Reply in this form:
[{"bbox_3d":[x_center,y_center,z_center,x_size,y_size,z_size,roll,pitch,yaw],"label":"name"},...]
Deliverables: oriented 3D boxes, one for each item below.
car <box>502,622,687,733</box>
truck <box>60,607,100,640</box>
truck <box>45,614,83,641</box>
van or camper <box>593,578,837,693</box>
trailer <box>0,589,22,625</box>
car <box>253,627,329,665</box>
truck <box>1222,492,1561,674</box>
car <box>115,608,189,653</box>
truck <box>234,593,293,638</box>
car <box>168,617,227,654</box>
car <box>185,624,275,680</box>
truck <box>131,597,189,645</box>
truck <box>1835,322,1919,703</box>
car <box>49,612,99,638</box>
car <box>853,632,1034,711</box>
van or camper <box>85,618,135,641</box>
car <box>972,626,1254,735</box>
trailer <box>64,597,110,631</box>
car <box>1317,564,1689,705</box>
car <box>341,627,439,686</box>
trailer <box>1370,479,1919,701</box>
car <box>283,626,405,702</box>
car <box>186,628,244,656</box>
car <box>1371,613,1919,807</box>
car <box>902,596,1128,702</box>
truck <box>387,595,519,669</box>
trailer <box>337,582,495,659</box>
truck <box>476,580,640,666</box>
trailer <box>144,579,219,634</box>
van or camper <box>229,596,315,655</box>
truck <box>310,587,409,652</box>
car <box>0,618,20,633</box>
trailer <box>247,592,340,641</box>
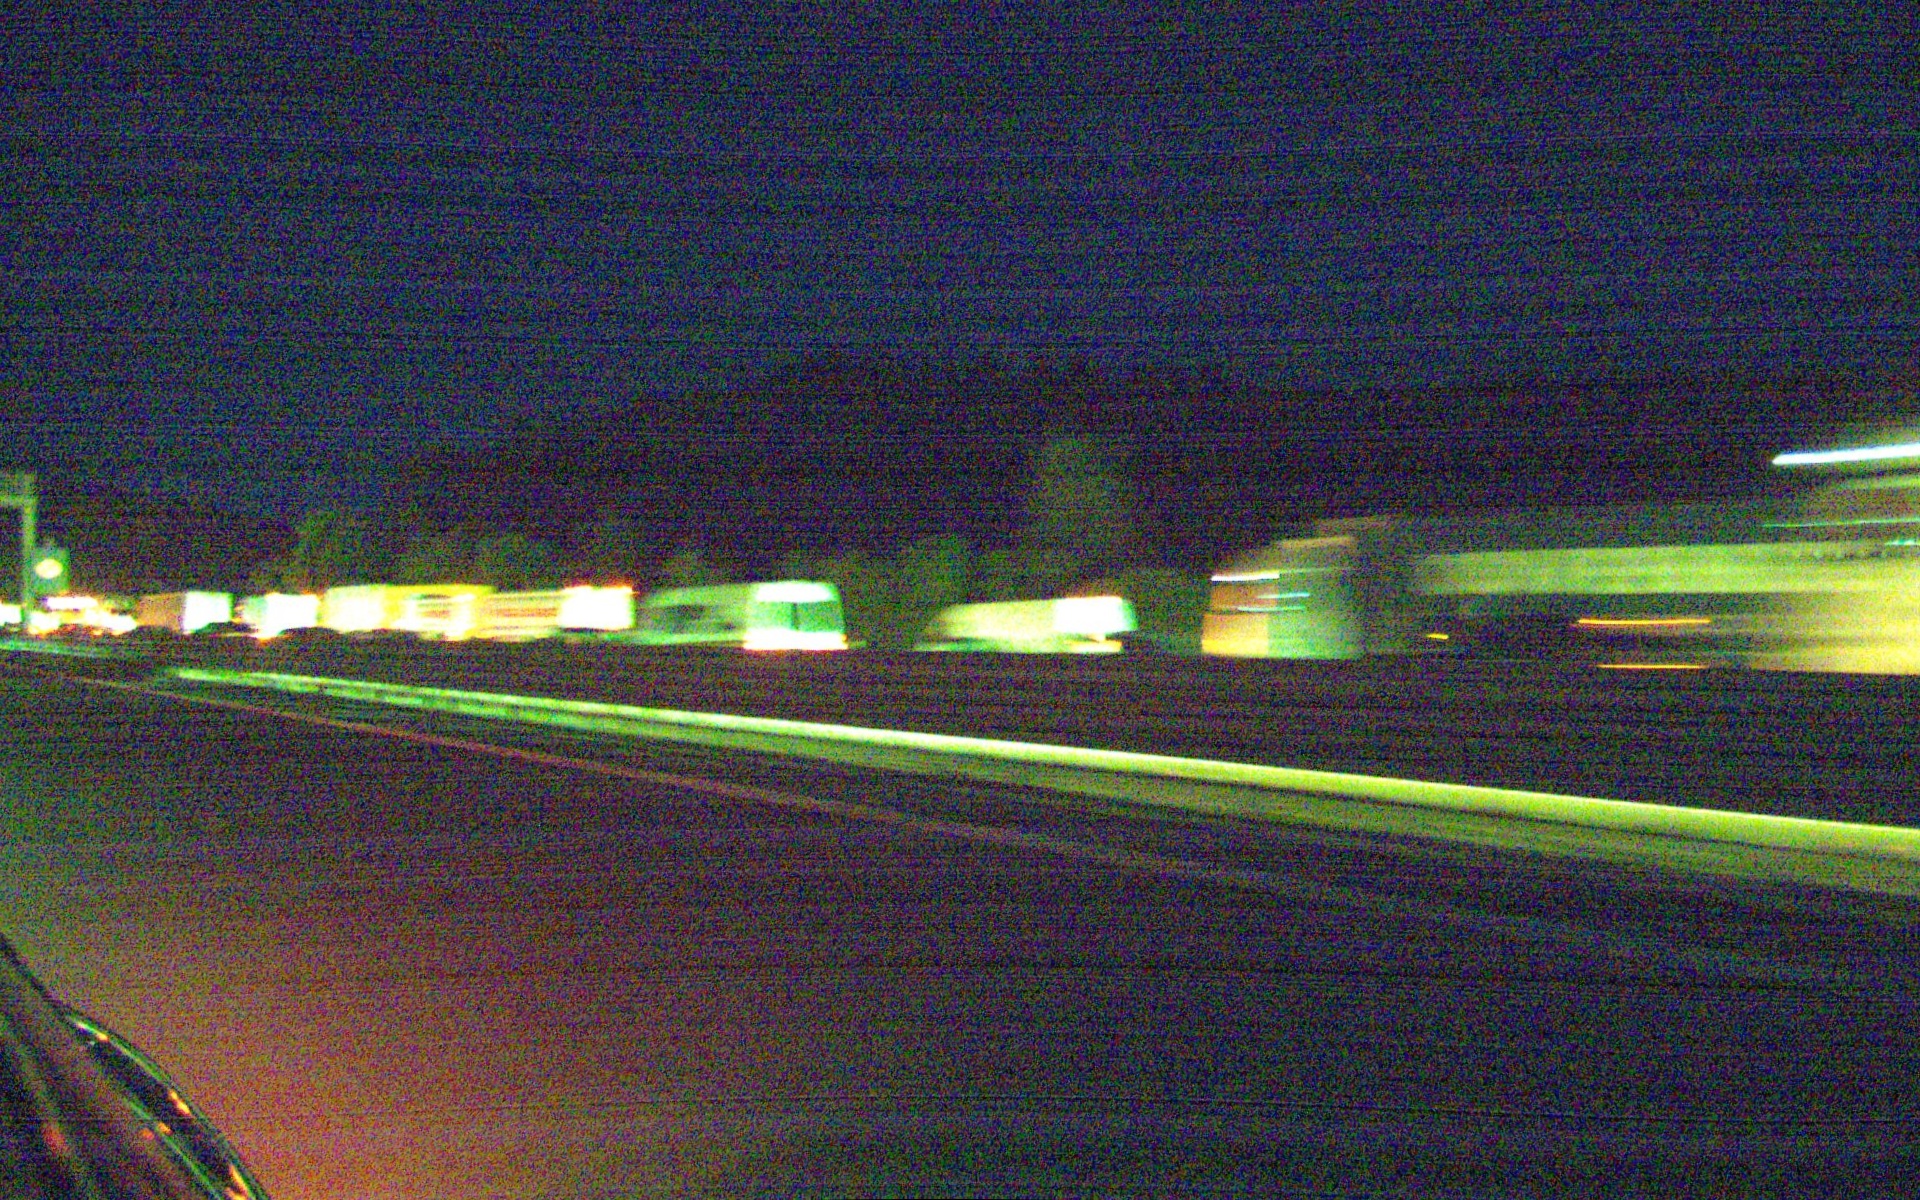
[{"bbox_3d":[-7.837,1.533,21.562,3.996,2.029,1.974,0,0,40],"label":"car"},{"bbox_3d":[-89.512,2.325,102.967,5.798,3.244,2.614,0,0,44],"label":"truck"},{"bbox_3d":[-103.253,3.169,116.583,8.174,2.982,2.528,-1,-3,44],"label":"truck"},{"bbox_3d":[-6.614,0.900,26.559,7.597,2.652,2.063,-1,-2,40],"label":"van or camper"},{"bbox_3d":[-111.778,0.766,118.121,3.053,4.119,12.465,0,0,-42],"label":"trailer"},{"bbox_3d":[-30.042,2.020,45.388,3.972,1.497,1.682,0,0,38],"label":"car"},{"bbox_3d":[9.442,-0.276,22.518,6.357,3.468,2.929,-1,-1,41],"label":"truck"},{"bbox_3d":[-38.408,1.398,48.064,3.996,2.029,1.974,0,0,40],"label":"car"},{"bbox_3d":[-51.561,1.172,74.855,4.903,3.235,2.369,-1,-2,40],"label":"truck"},{"bbox_3d":[-46.266,2.115,61.362,3.996,2.029,1.974,0,0,40],"label":"car"},{"bbox_3d":[-29.140,2.024,40.378,3.996,2.029,1.974,0,0,40],"label":"car"},{"bbox_3d":[-61.627,1.643,77.941,6.721,3.541,2.378,-2,-2,42],"label":"truck"},{"bbox_3d":[12.391,-0.855,9.085,6.775,3.701,2.845,0,0,40],"label":"truck"},{"bbox_3d":[-49.716,1.405,56.753,3.998,1.364,1.554,-1,-2,41],"label":"car"},{"bbox_3d":[-0.474,1.711,25.455,4.309,1.658,1.974,0,0,40],"label":"car"},{"bbox_3d":[-77.877,2.730,92.677,7.635,2.029,2.165,-1,-2,40],"label":"van or camper"},{"bbox_3d":[2.508,1.264,17.400,4.645,1.497,1.711,0,0,42],"label":"car"},{"bbox_3d":[-85.734,1.285,99.344,9.005,3.200,2.577,0,0,44],"label":"trailer"},{"bbox_3d":[8.932,0.485,16.965,5.239,2.029,1.974,0,0,40],"label":"car"},{"bbox_3d":[-21.998,2.123,39.004,3.996,2.029,1.974,0,0,40],"label":"car"},{"bbox_3d":[14.665,-0.123,18.025,13.428,3.468,2.929,-1,-1,41],"label":"trailer"},{"bbox_3d":[-18.742,1.869,30.729,3.996,2.029,1.974,0,0,40],"label":"car"},{"bbox_3d":[-37.842,2.130,51.362,3.999,1.364,1.553,-1,-3,42],"label":"car"},{"bbox_3d":[6.169,0.843,9.427,3.993,1.369,1.975,0,0,37],"label":"car"},{"bbox_3d":[1.443,1.332,29.110,6.352,2.739,2.291,-2,-1,40],"label":"car"},{"bbox_3d":[-22.529,1.327,44.765,7.448,3.008,2.529,0,-2,41],"label":"truck"},{"bbox_3d":[-30.170,1.113,55.694,13.122,3.702,2.854,-1,3,41],"label":"trailer"},{"bbox_3d":[-15.598,0.837,38.969,7.398,3.008,2.734,0,-2,41],"label":"truck"},{"bbox_3d":[-56.355,0.510,73.117,11.178,3.655,2.368,-1,-2,42],"label":"trailer"},{"bbox_3d":[-41.129,1.514,60.426,7.389,3.297,2.407,-1,-3,41],"label":"van or camper"},{"bbox_3d":[-36.160,1.205,60.843,7.259,3.703,2.853,-1,-3,41],"label":"truck"},{"bbox_3d":[-89.189,2.368,94.767,1.552,1.364,4.003,2,-3,-44],"label":"car"},{"bbox_3d":[-46.661,1.137,70.677,11.172,3.235,2.369,-1,-2,40],"label":"trailer"}]
